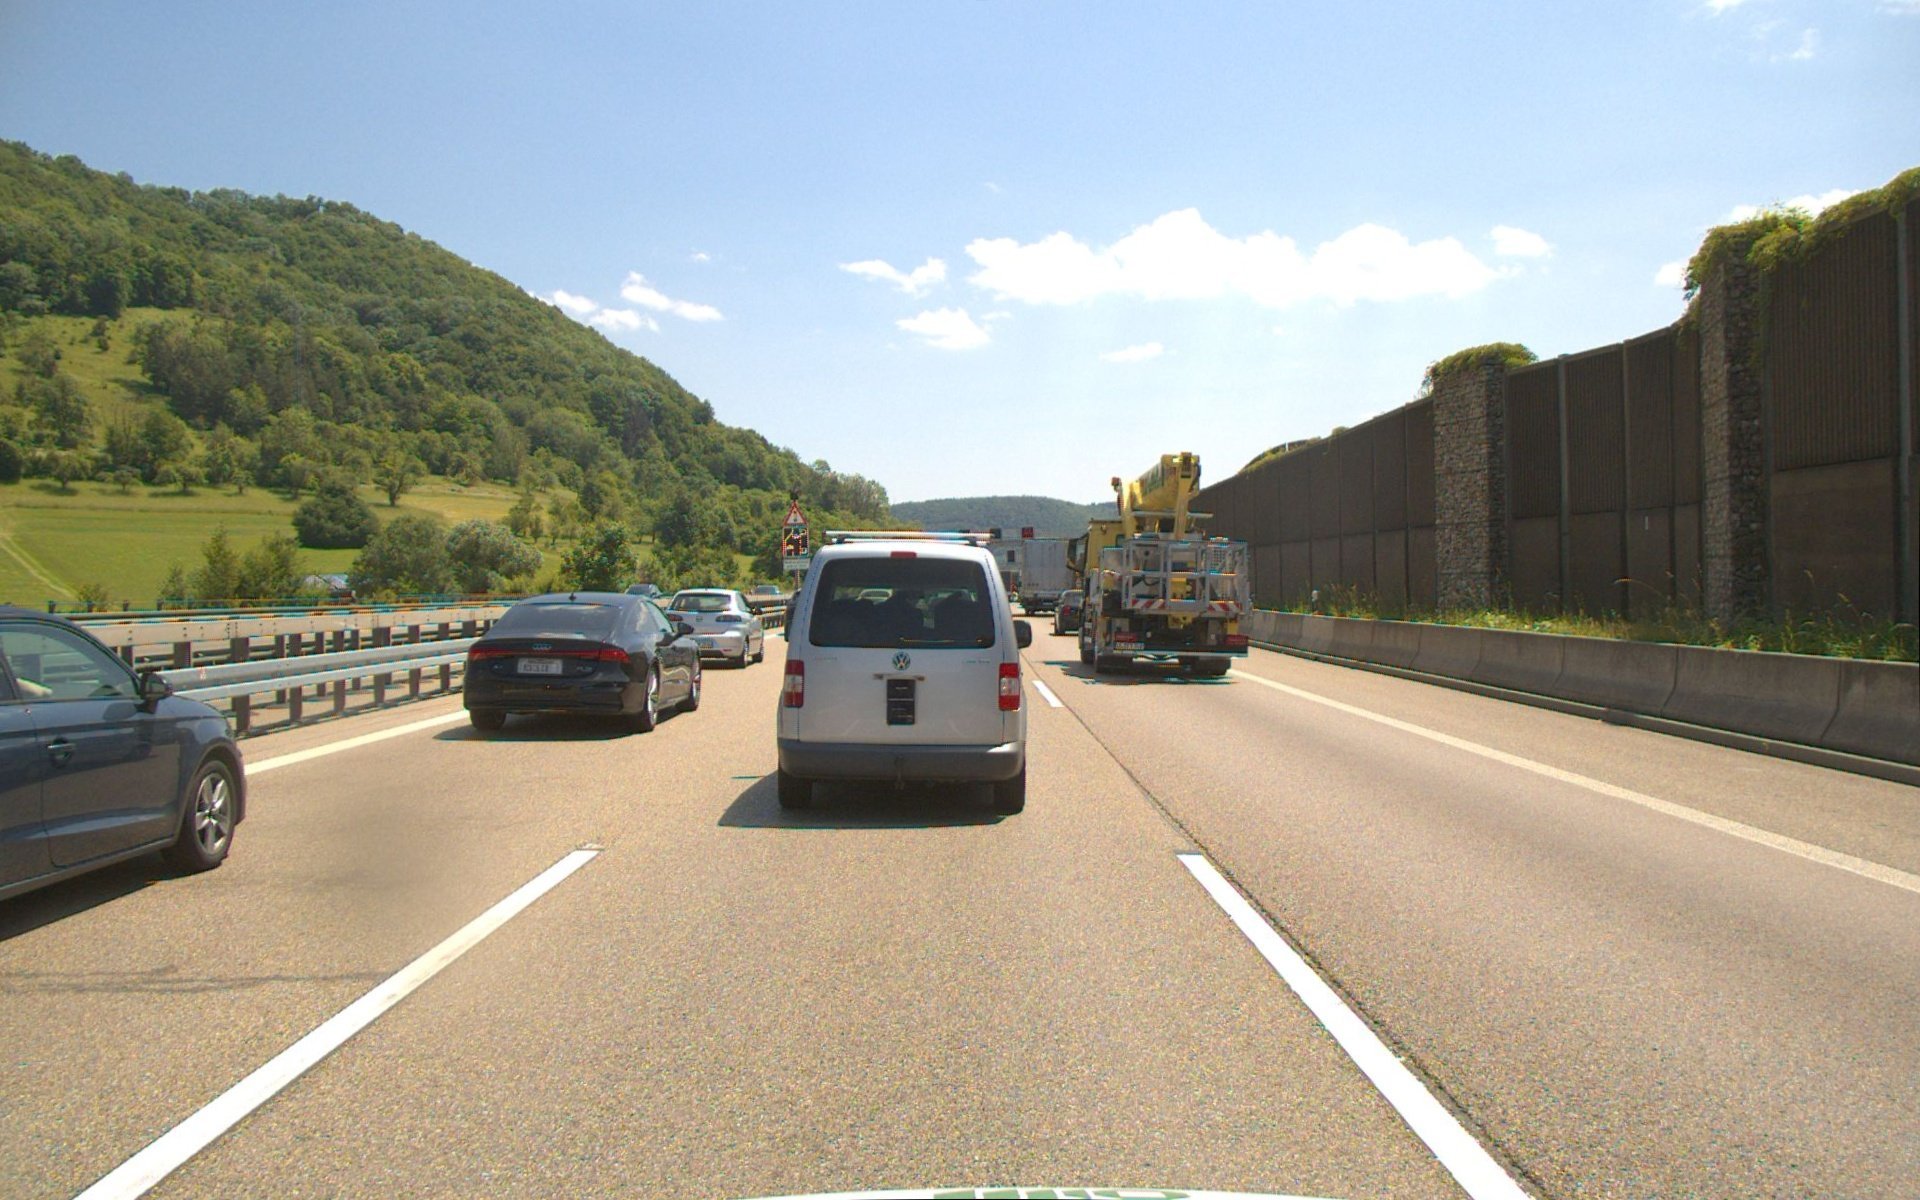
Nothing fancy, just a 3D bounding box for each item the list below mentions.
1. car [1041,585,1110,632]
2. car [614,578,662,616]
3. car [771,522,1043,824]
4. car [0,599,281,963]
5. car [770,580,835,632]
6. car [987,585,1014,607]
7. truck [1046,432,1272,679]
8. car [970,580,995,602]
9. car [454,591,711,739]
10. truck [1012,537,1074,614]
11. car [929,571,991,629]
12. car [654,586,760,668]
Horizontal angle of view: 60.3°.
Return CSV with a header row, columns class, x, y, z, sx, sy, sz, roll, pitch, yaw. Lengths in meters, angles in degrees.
class,x,y,z,sx,sy,sz,roll,pitch,yaw
car,3.745,0.249,54.216,1.751,1.484,3.768,0,0,-4
car,-17.722,-0.186,91.203,1.953,2.049,3.999,0,0,-1
car,-0.470,0.442,12.476,1.721,1.900,3.997,0,0,-4
car,-4.621,0.718,7.274,1.654,1.413,3.999,0,0,-1
car,-4.874,0.168,51.565,1.887,1.525,3.997,1,0,-4
car,3.608,-0.355,148.133,2.073,1.859,3.996,1,0,-4
truck,3.482,-0.766,31.355,2.650,4.011,8.714,0,0,-4
car,1.926,-0.758,140.648,1.953,1.779,3.999,1,0,-1
car,-4.013,0.615,18.442,1.764,1.414,4.969,0,0,-1
truck,4.404,-1.255,89.447,2.880,3.890,8.236,1,0,0
car,-0.050,-0.016,59.347,1.954,2.010,3.997,0,0,-4
car,-4.768,0.461,31.592,1.662,1.470,3.859,0,0,-4
